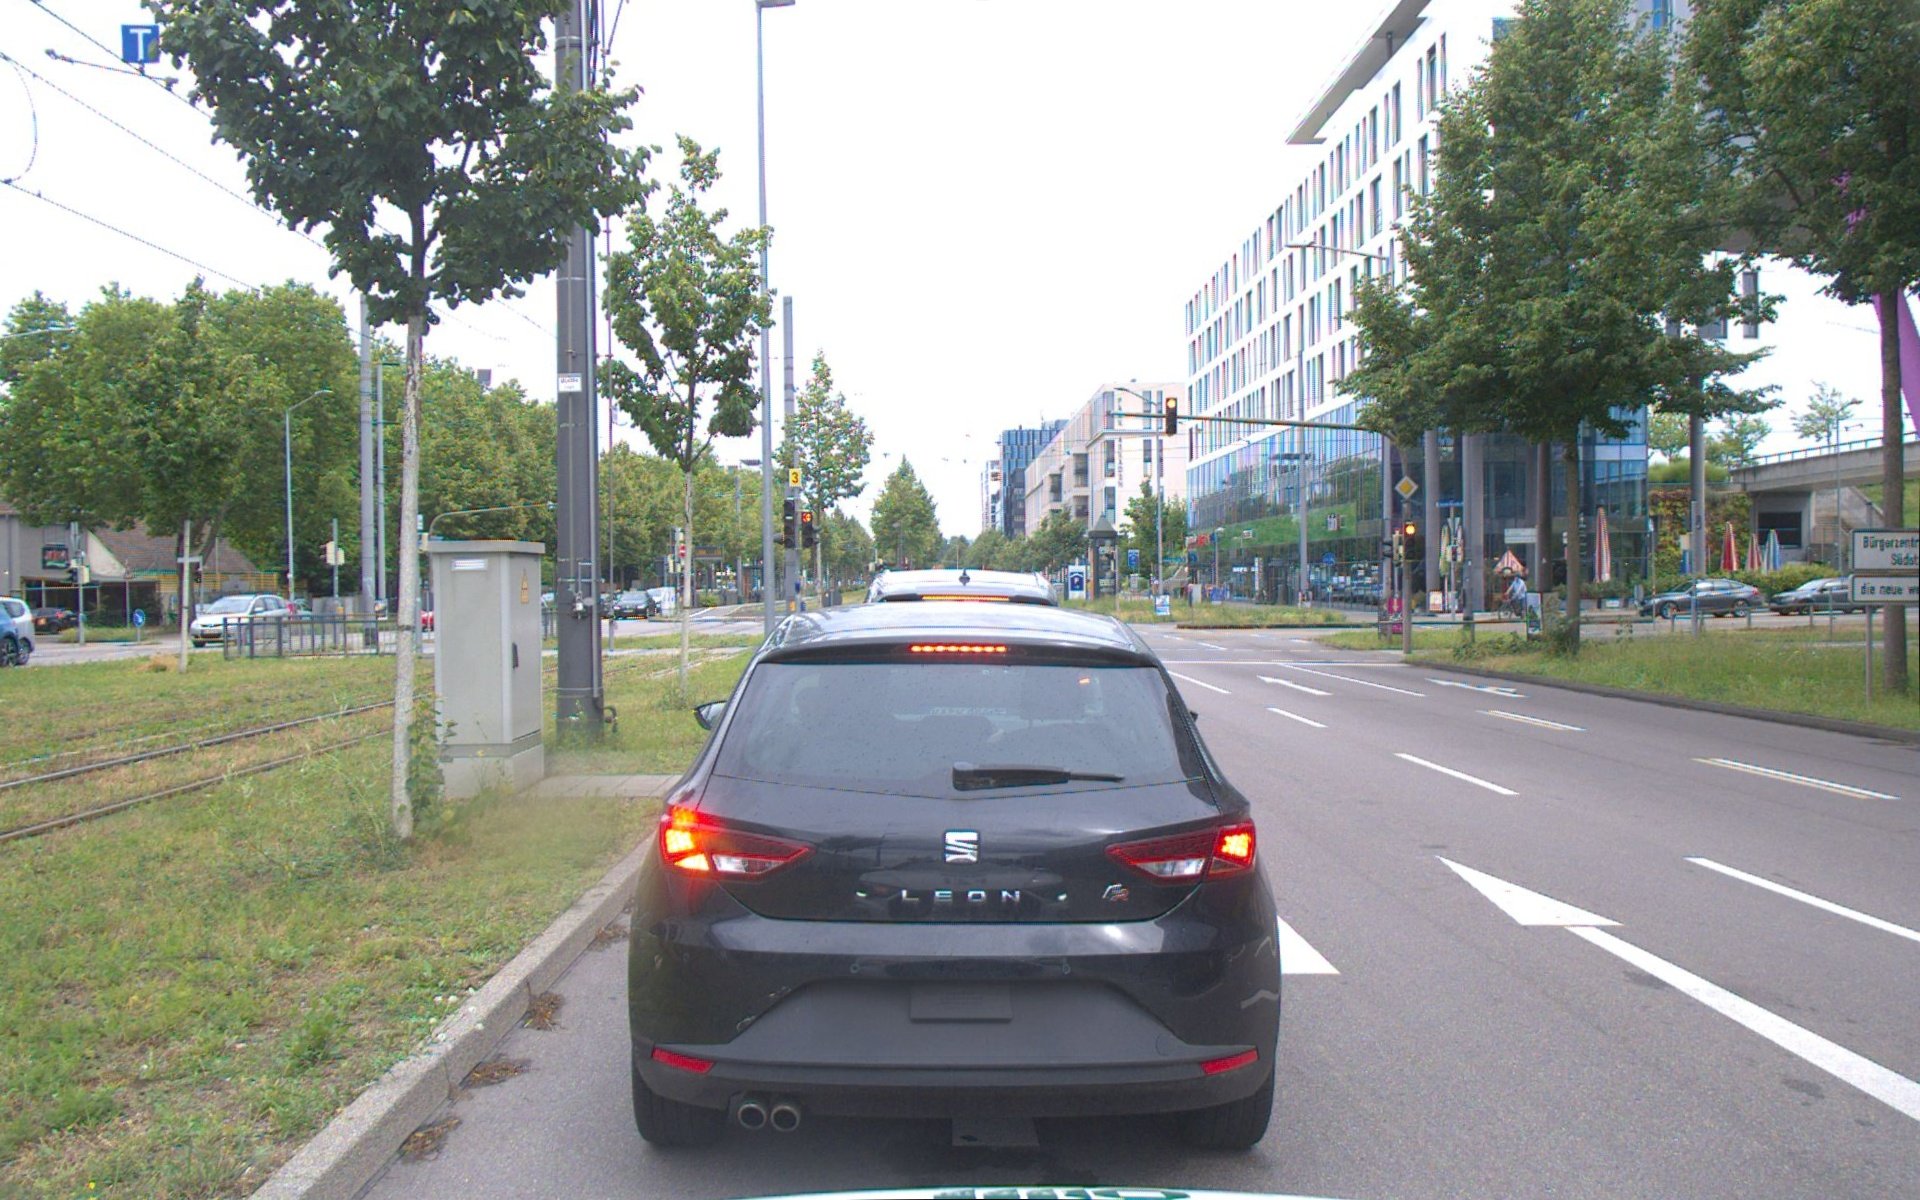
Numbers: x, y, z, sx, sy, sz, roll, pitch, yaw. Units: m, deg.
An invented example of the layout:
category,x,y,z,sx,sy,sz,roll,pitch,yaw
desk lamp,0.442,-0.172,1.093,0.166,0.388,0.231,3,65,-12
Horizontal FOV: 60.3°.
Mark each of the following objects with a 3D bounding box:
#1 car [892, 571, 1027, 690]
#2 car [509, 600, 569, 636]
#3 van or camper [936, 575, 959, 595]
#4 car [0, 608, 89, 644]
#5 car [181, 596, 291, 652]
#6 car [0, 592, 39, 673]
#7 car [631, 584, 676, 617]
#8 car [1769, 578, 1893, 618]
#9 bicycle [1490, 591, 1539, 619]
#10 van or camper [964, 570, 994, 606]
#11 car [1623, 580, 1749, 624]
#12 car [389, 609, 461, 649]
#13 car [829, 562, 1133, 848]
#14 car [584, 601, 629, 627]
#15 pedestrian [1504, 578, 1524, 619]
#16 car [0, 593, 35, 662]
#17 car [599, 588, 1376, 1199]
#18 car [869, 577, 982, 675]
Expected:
category,x,y,z,sx,sy,sz,roll,pitch,yaw
car,0.065,0.420,26.199,1.952,1.711,4.001,1,1,2
car,-19.453,0.808,76.562,1.630,1.451,4.744,-2,1,-2
van or camper,-1.042,-1.343,143.440,1.953,1.643,4.789,0,2,0
car,-50.477,1.429,90.768,4.190,1.847,2.108,-1,1,3
car,-23.402,0.728,53.664,1.686,1.672,4.672,-1,1,-3
car,-20.260,0.669,32.630,1.926,1.616,4.683,0,1,-6
car,-17.649,0.007,95.431,1.953,1.780,4.199,-1,1,-2
car,34.418,-0.093,65.425,3.996,1.480,1.758,-1,1,1
bicycle,22.361,0.203,66.740,1.755,1.104,0.618,-1,0,1
van or camper,1.325,-0.888,118.034,2.066,2.397,4.924,0,2,0
car,28.511,0.066,65.016,4.163,1.643,1.758,-1,0,1
car,-23.521,1.263,72.858,1.759,1.598,4.328,-1,1,0
car,0.097,0.594,11.721,1.766,1.652,3.999,-1,1,-1
car,-20.091,0.774,94.115,1.765,1.401,4.056,-1,1,-2
pedestrian,22.339,-0.065,66.741,0.602,1.632,0.619,-1,0,1
car,-23.306,0.627,37.901,1.760,1.598,4.576,2,0,-3
car,0.012,0.702,5.660,1.708,1.442,3.999,1,1,-2
car,-0.593,0.434,31.448,1.952,1.711,4.001,1,1,1
